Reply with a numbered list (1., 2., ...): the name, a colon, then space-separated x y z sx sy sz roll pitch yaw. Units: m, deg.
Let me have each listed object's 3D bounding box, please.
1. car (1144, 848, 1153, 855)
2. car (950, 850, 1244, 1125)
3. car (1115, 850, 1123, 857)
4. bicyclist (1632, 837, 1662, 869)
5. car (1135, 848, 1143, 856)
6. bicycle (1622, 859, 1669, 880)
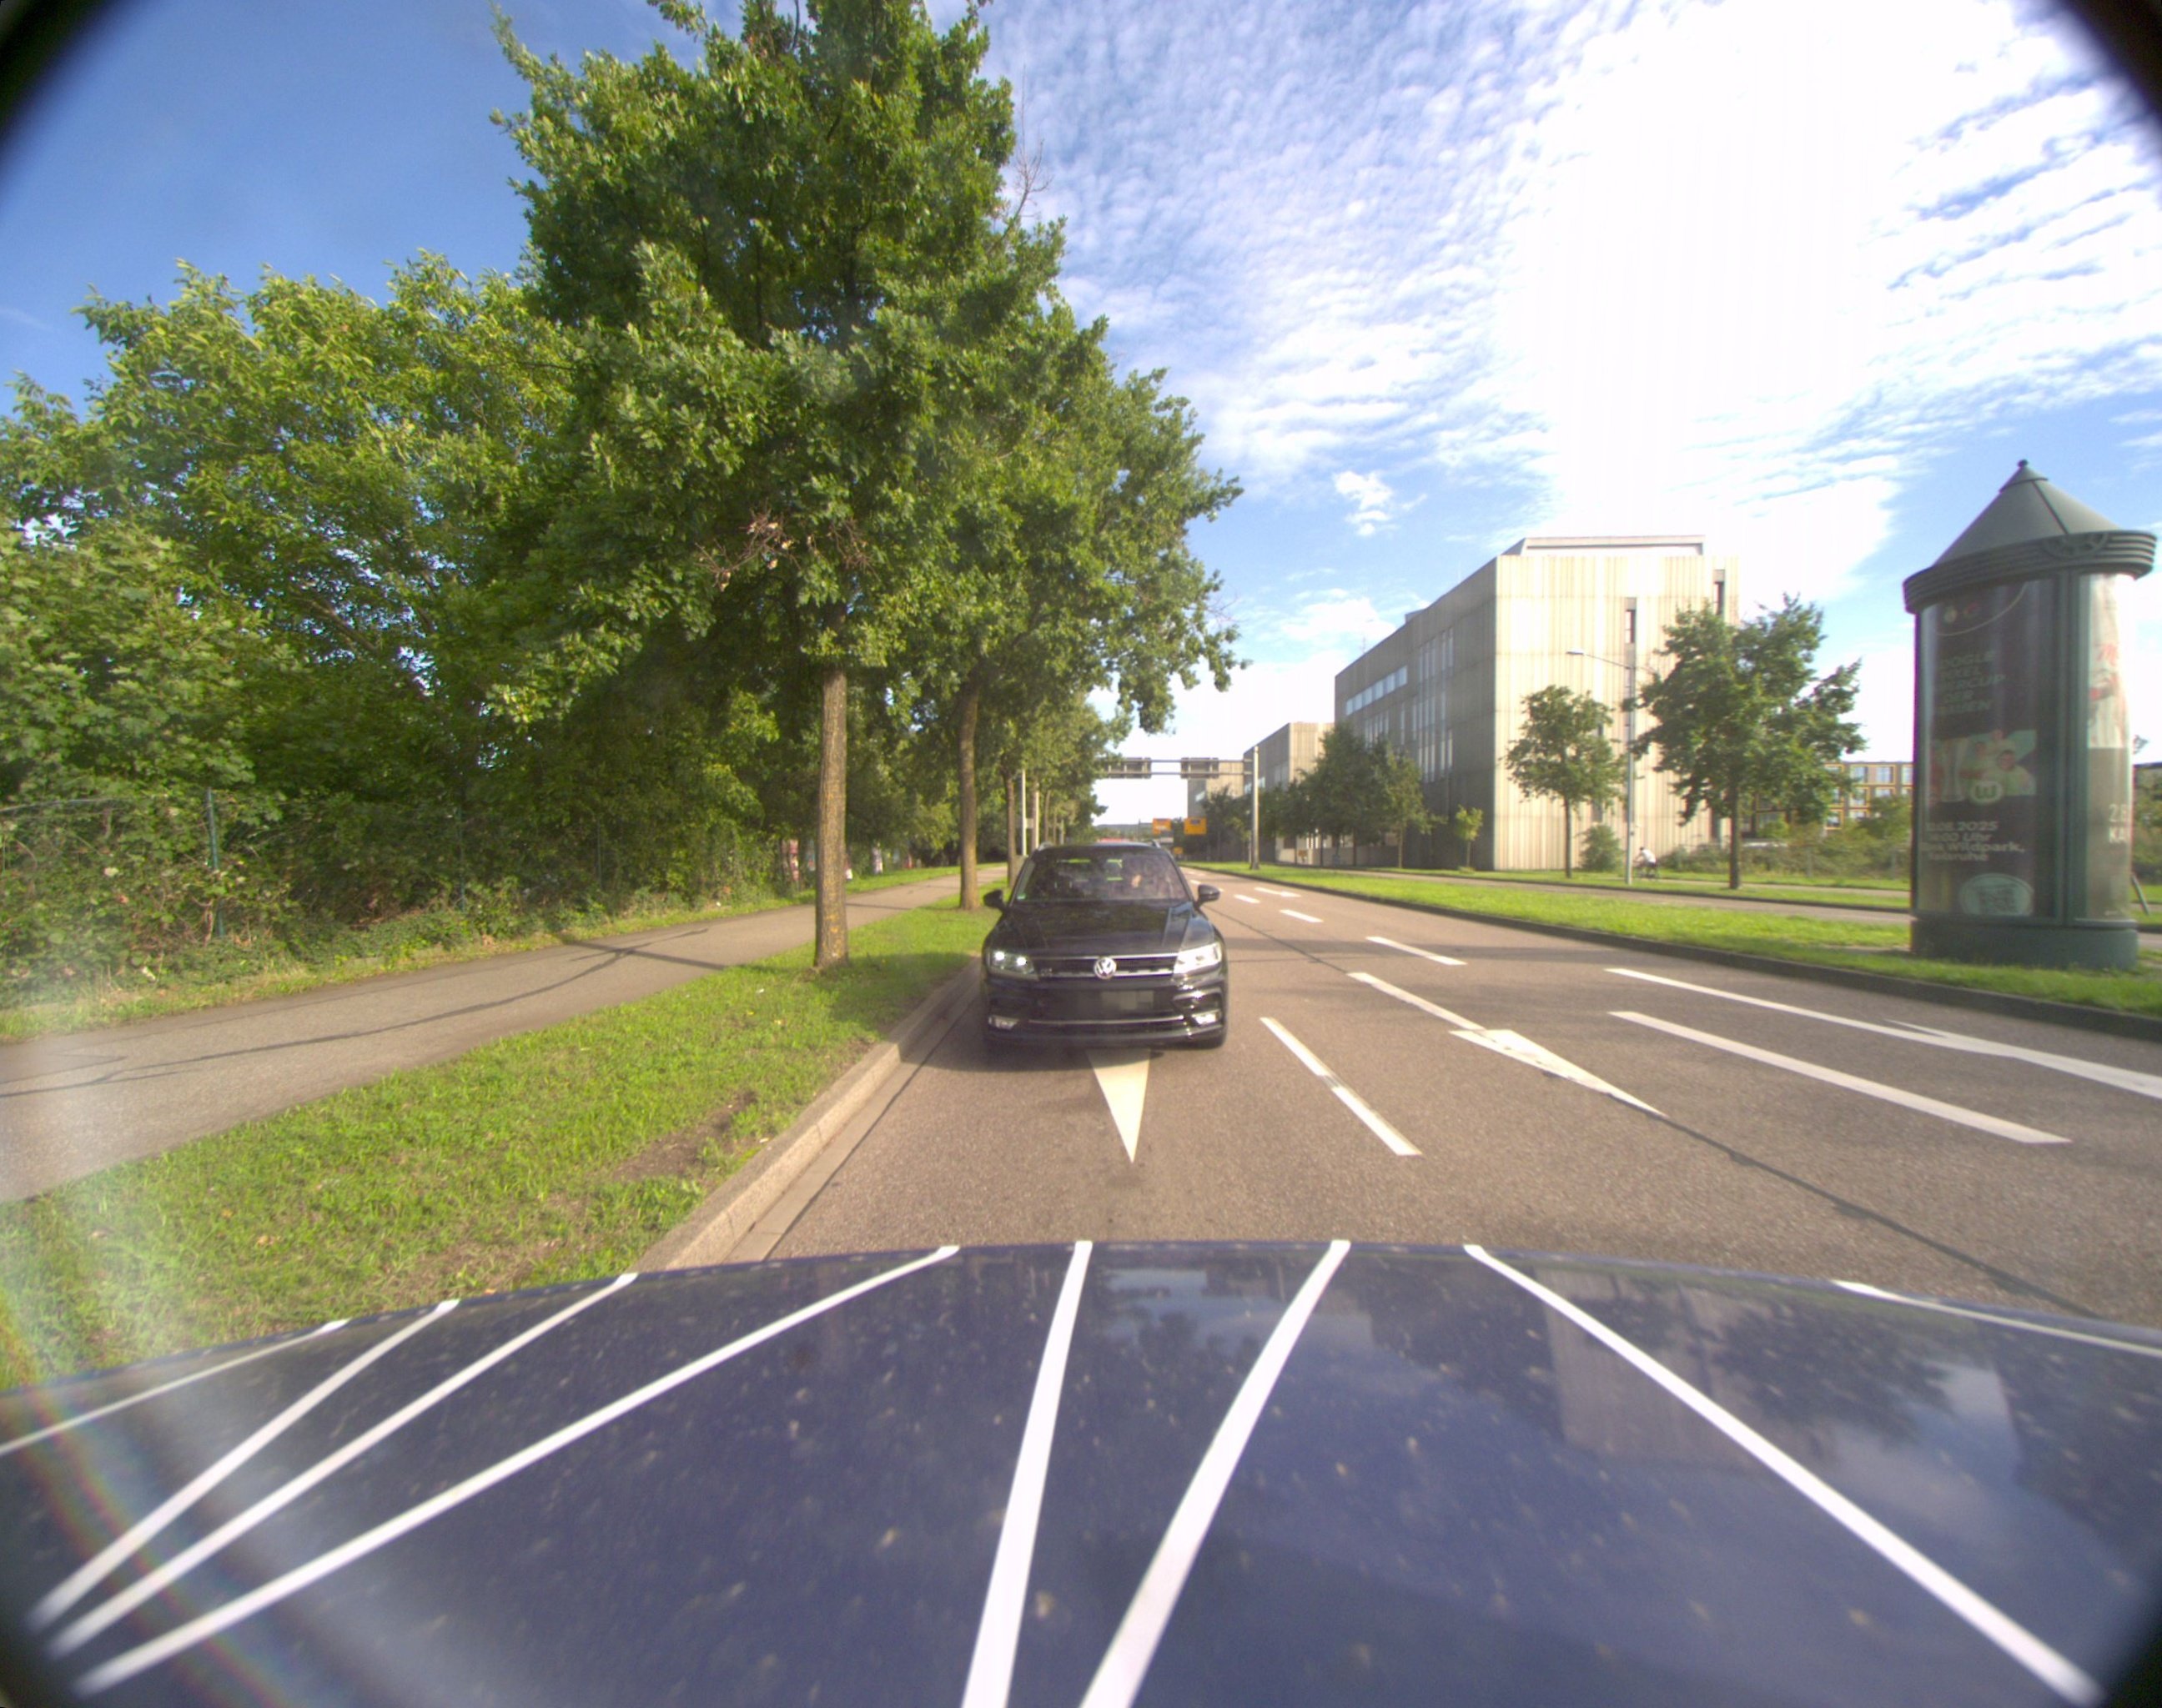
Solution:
1. car: 17.255 -0.633 195.710 1.998 2.002 4.000 0 0 0
2. car: 0.151 0.824 6.636 1.775 1.637 3.868 -2 1 2
3. car: 8.466 -0.141 168.078 1.745 1.455 4.000 -1 1 3
4. bicyclist: 27.753 -0.053 37.270 0.707 1.517 0.989 0 1 1
5. car: 15.944 -0.543 207.922 1.998 2.002 3.983 0 0 0
6. bicycle: 27.748 0.730 37.372 0.897 0.975 1.911 1 0 1
